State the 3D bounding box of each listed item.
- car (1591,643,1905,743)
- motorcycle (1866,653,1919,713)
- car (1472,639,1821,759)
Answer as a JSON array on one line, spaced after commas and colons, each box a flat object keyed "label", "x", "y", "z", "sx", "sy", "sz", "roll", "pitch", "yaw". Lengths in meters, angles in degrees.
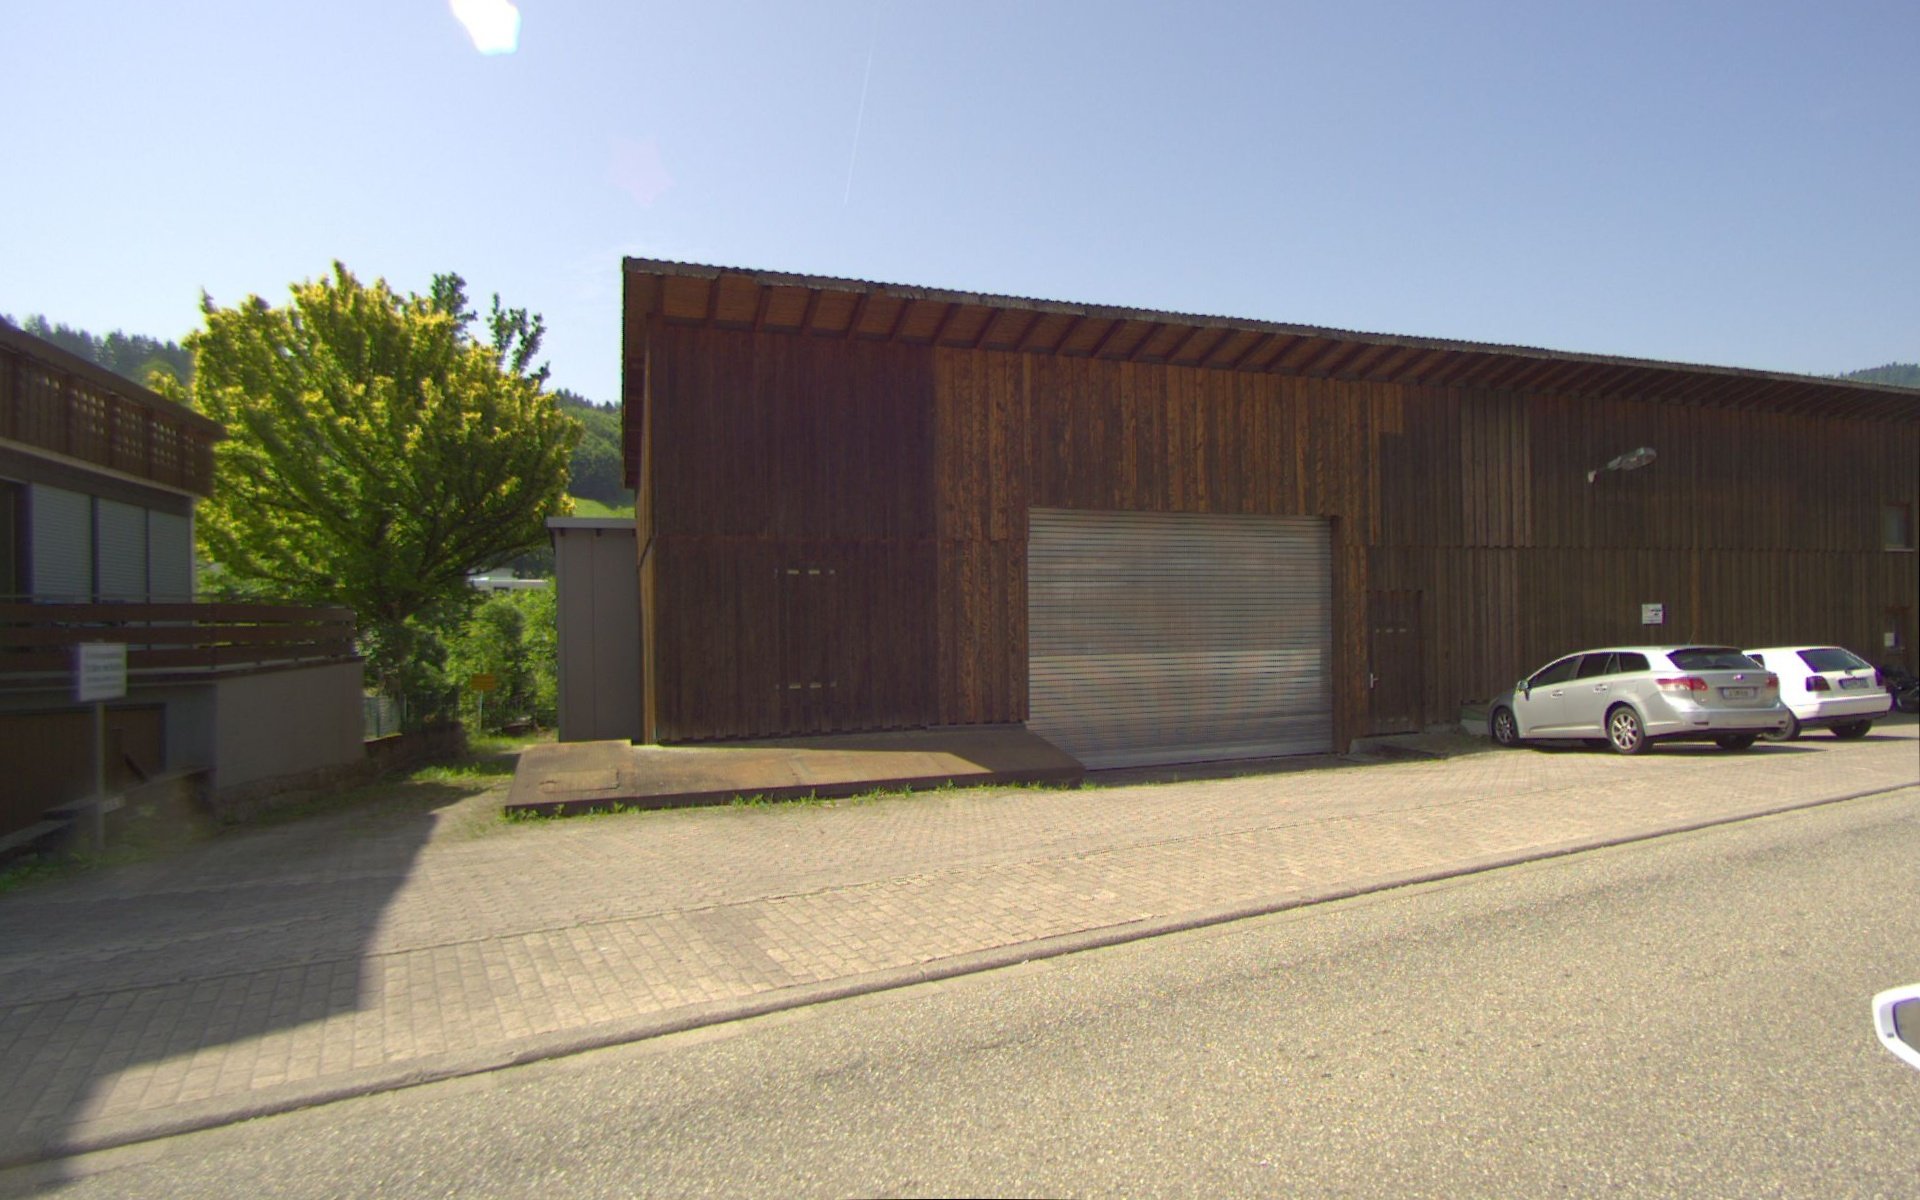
[{"label": "car", "x": 12.505, "y": 1.507, "z": 16.259, "sx": 1.682, "sy": 1.403, "sz": 3.663, "roll": 0, "pitch": -6, "yaw": -15}, {"label": "motorcycle", "x": 21.319, "y": 1.805, "z": 21.790, "sx": 0.732, "sy": 1.281, "sz": 2.406, "roll": 1, "pitch": -2, "yaw": -20}, {"label": "car", "x": 9.924, "y": 1.457, "z": 15.076, "sx": 1.888, "sy": 1.493, "sz": 4.444, "roll": -1, "pitch": -5, "yaw": -5}]
